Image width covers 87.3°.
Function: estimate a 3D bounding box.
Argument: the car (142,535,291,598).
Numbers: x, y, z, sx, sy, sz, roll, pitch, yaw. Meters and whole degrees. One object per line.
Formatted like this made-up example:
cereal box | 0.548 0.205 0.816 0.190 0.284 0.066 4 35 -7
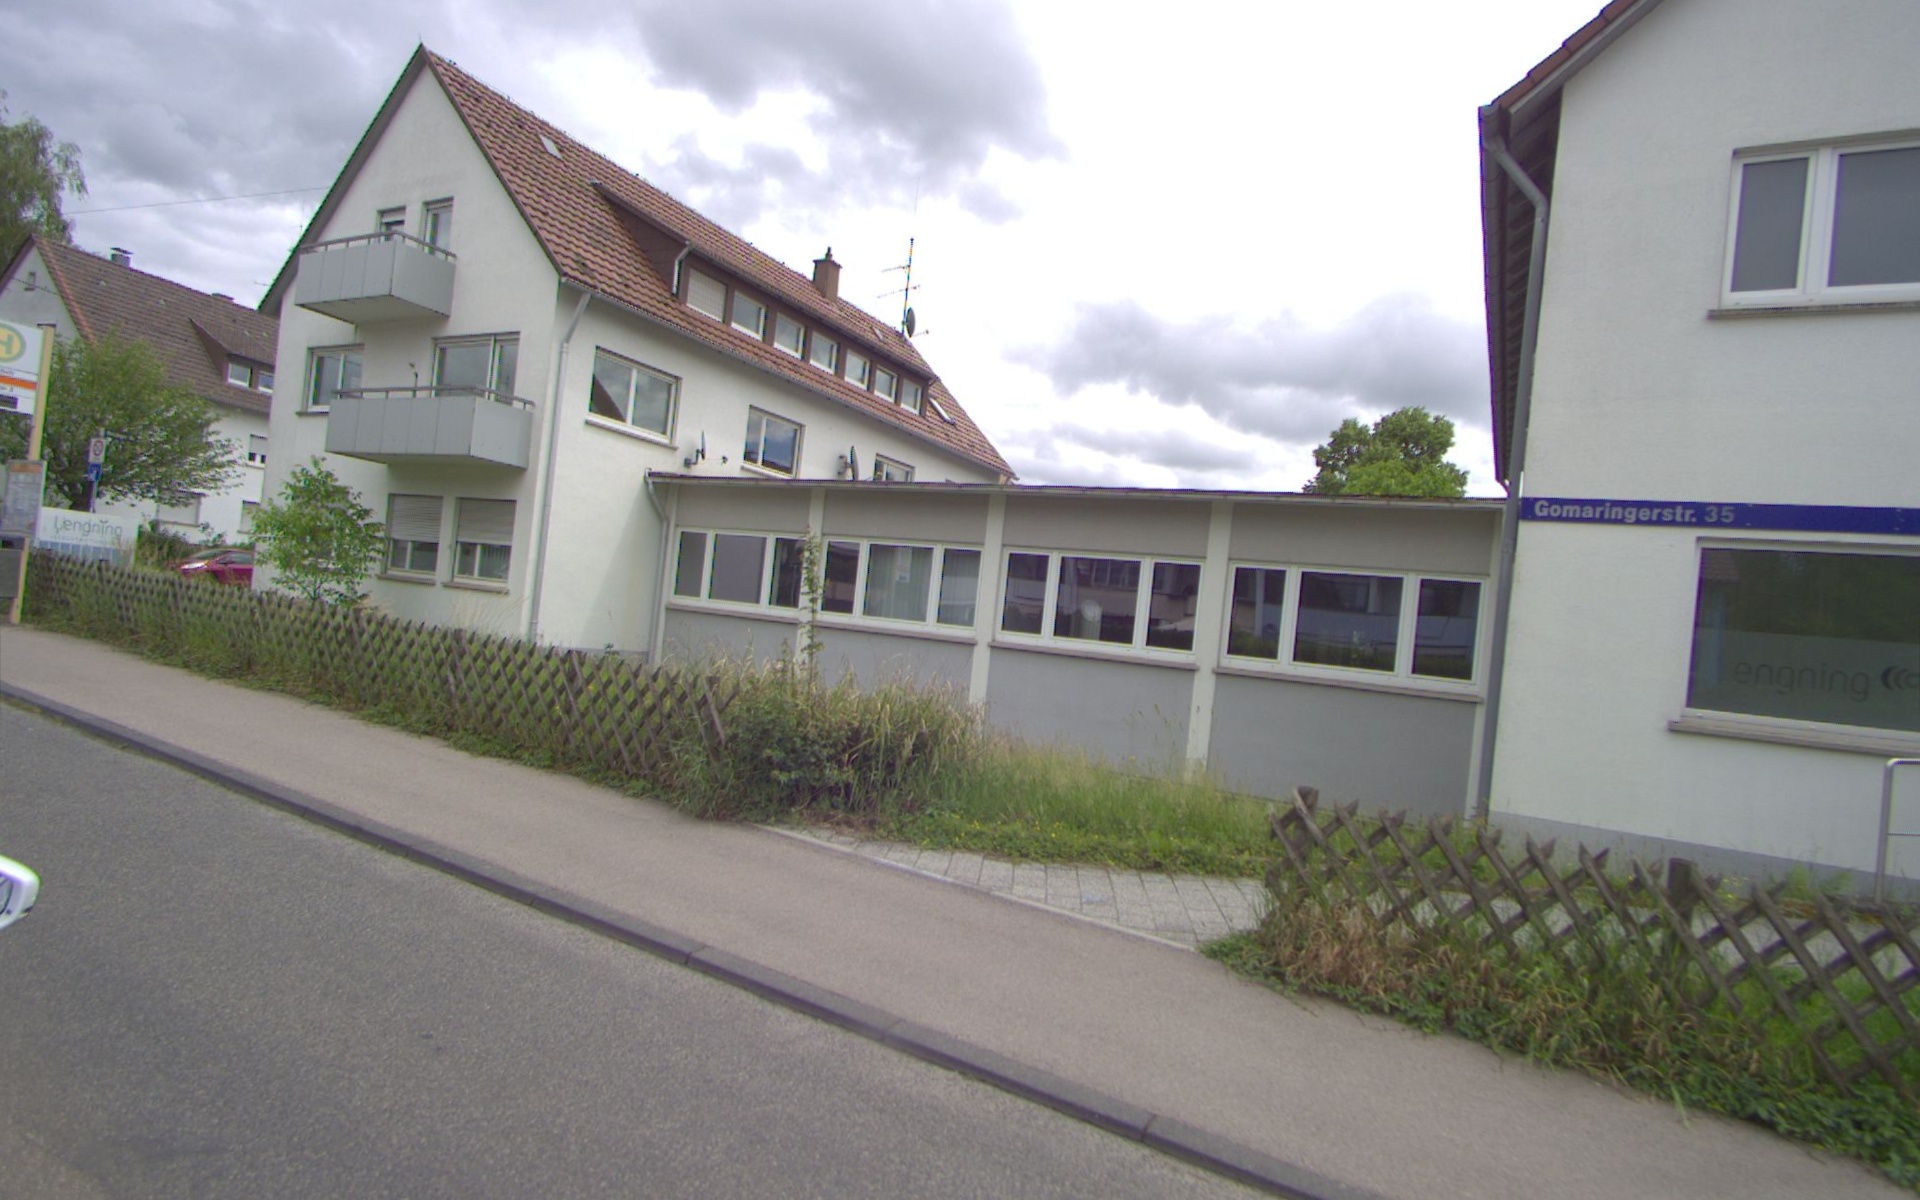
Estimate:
car | -25.075 -1.078 34.083 1.655 1.580 3.716 4 -4 15
